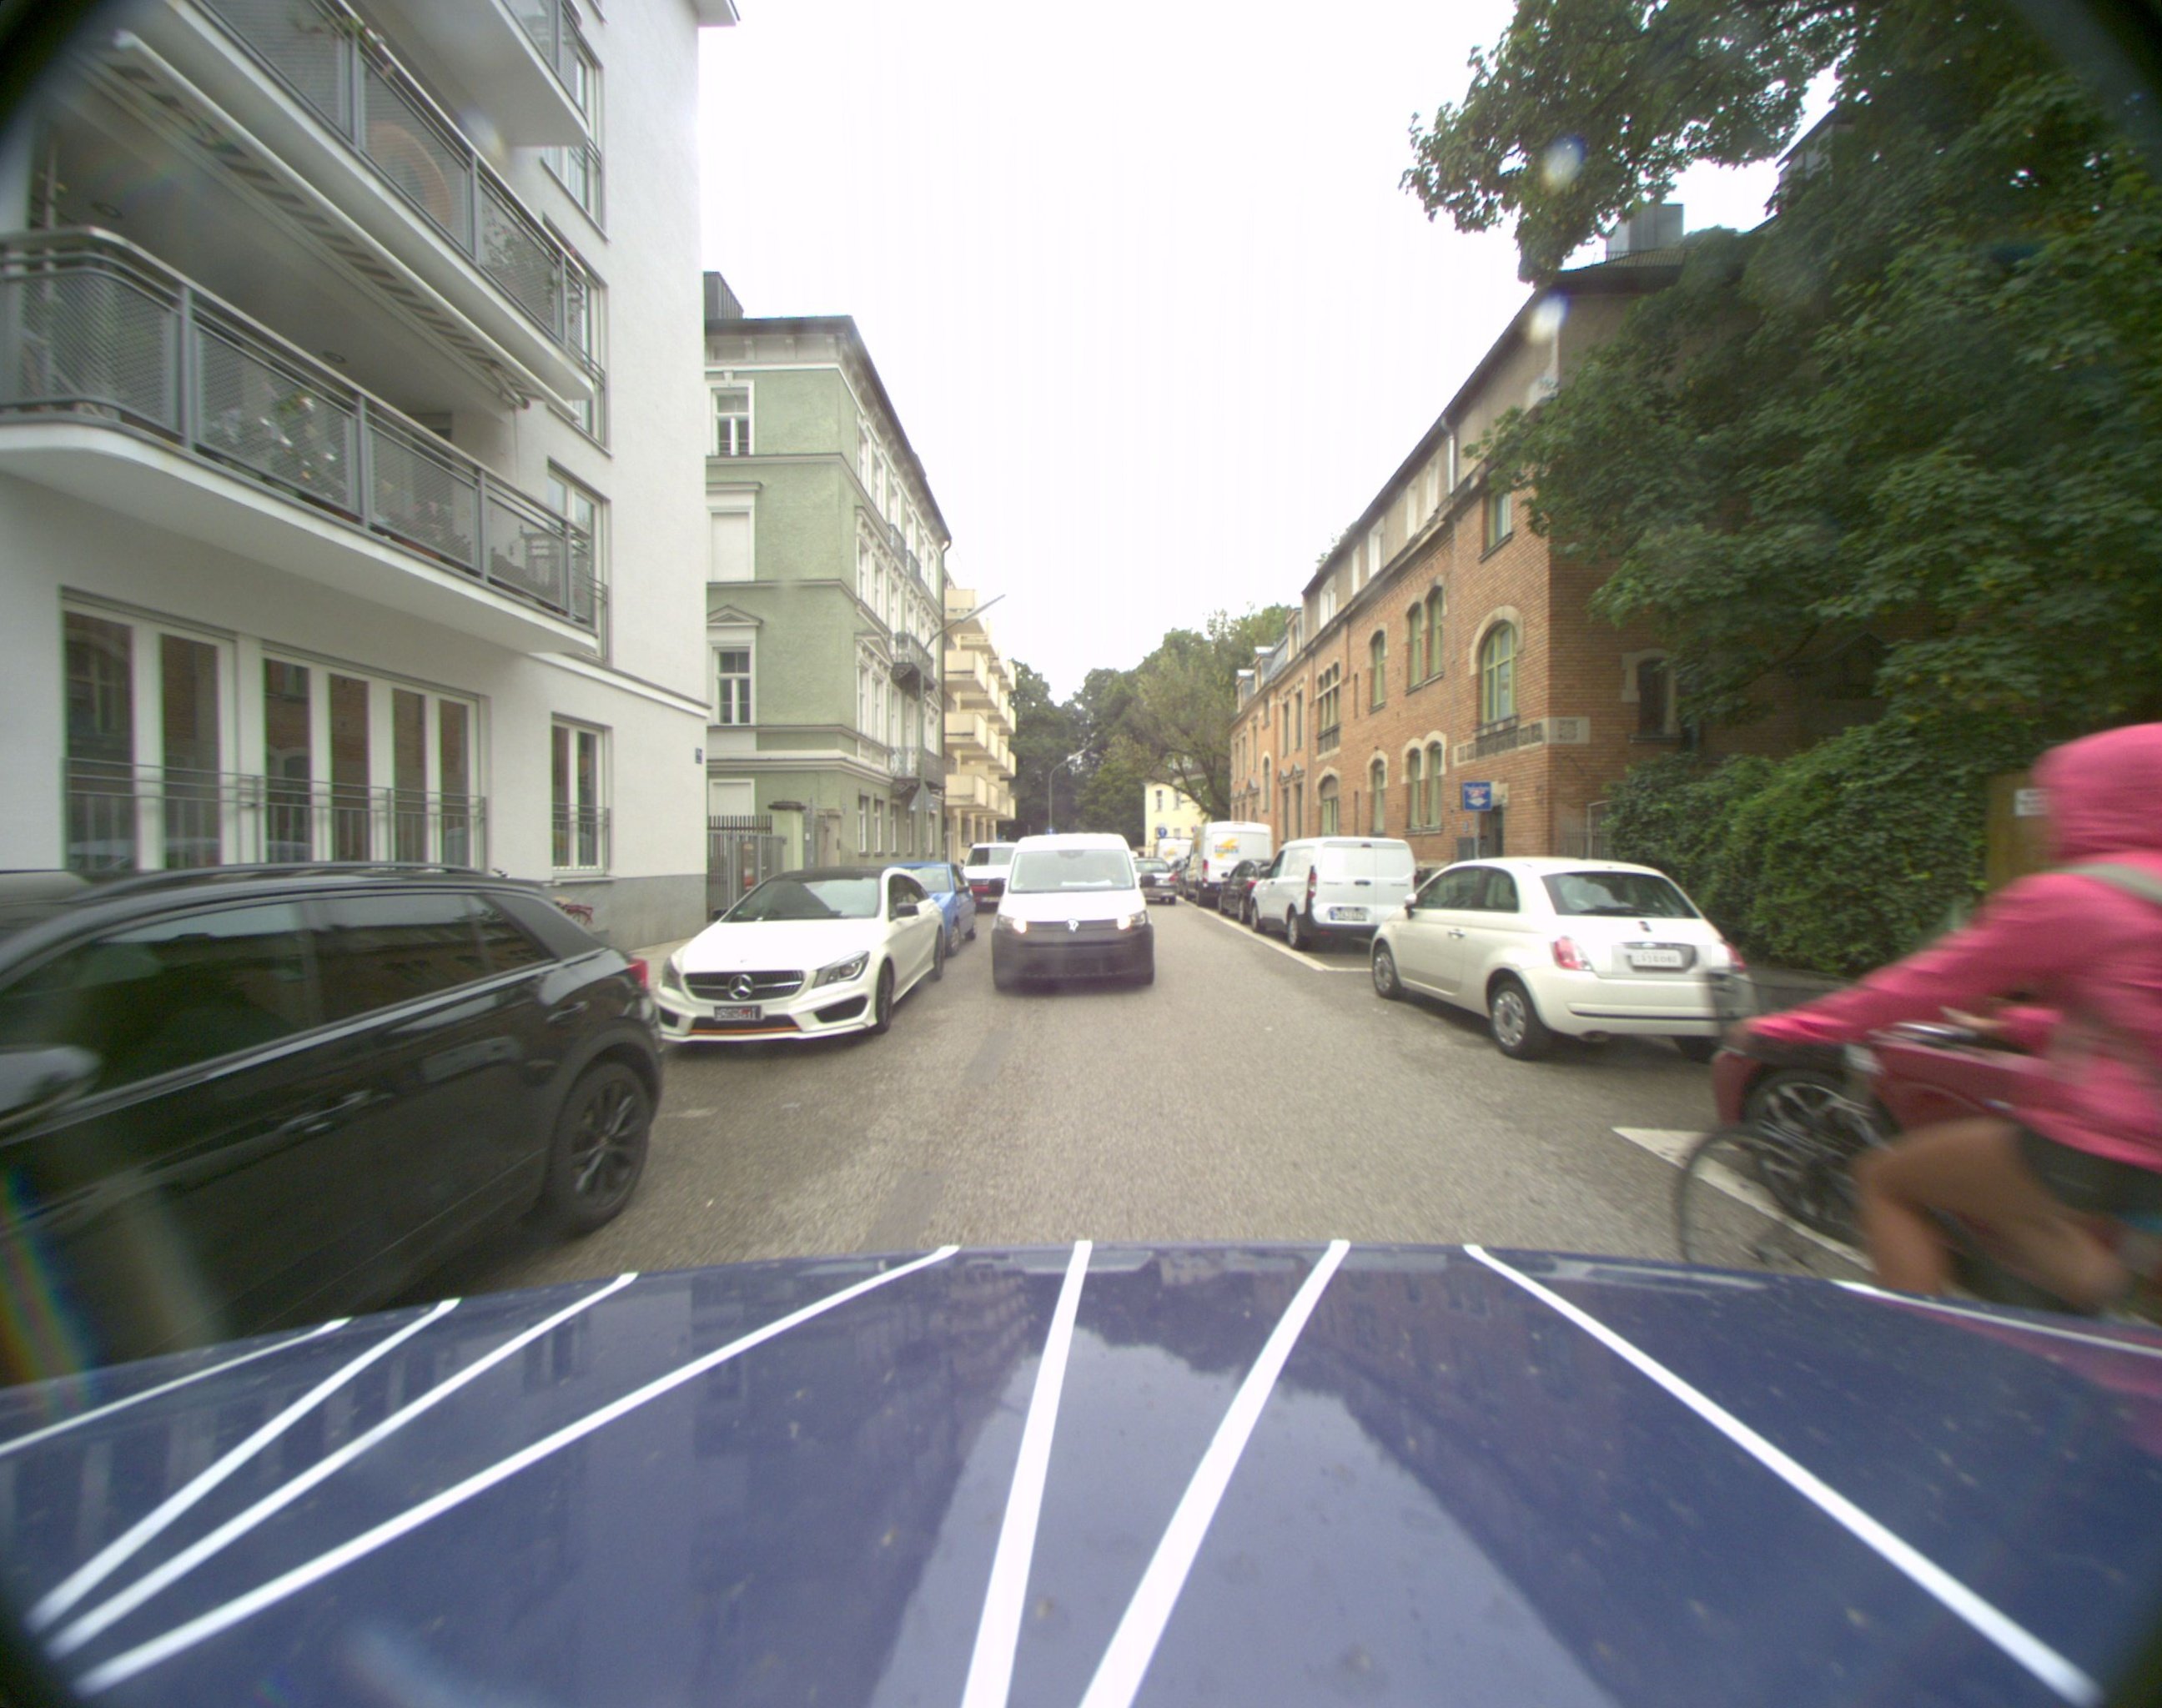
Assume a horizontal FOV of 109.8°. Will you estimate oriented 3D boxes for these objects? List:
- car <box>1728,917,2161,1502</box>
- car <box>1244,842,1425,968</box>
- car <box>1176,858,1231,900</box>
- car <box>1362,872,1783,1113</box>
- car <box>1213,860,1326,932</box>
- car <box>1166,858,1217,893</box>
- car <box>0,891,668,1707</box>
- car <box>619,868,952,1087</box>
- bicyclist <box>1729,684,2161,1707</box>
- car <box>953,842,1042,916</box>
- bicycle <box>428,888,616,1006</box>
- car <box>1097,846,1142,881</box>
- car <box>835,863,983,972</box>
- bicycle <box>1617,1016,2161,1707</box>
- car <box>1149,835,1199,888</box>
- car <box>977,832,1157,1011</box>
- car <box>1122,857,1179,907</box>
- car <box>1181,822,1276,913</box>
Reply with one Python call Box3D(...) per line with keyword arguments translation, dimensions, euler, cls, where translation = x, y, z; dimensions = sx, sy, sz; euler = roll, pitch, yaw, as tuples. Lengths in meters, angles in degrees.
Box3D(translation=(3.777, 1.034, 1.142), dimensions=(1.865, 1.404, 4.333), euler=(2, 1, 0), cls="car")
Box3D(translation=(4.114, 0.737, 13.095), dimensions=(1.694, 1.793, 4.145), euler=(1, 0, 0), cls="car")
Box3D(translation=(4.545, 0.903, 28.668), dimensions=(1.526, 1.434, 3.541), euler=(2, 0, 1), cls="car")
Box3D(translation=(3.824, 0.948, 6.625), dimensions=(1.477, 1.458, 3.313), euler=(1, 0, 0), cls="car")
Box3D(translation=(4.317, 0.899, 18.020), dimensions=(1.694, 1.434, 4.145), euler=(1, 0, 1), cls="car")
Box3D(translation=(4.840, 0.910, 33.653), dimensions=(1.694, 1.434, 3.984), euler=(2, 0, 1), cls="car")
Box3D(translation=(-2.777, 0.980, 1.570), dimensions=(1.608, 1.521, 3.984), euler=(-3, 0, 0), cls="car")
Box3D(translation=(-2.519, 0.944, 7.664), dimensions=(1.662, 1.431, 4.206), euler=(-3, 0, 0), cls="car")
Box3D(translation=(1.885, 0.541, 1.315), dimensions=(0.695, 1.552, 0.967), euler=(1, 0, 4), cls="bicyclist")
Box3D(translation=(-2.332, 0.667, 22.501), dimensions=(1.858, 1.885, 4.592), euler=(-2, 0, 2), cls="car")
Box3D(translation=(-6.049, 0.953, 8.382), dimensions=(0.679, 1.022, 1.834), euler=(0, 2, 0), cls="bicycle")
Box3D(translation=(2.065, 0.494, 42.024), dimensions=(1.777, 1.793, 4.569), euler=(0, 0, -5), cls="car")
Box3D(translation=(-2.667, 0.924, 12.557), dimensions=(1.623, 1.404, 3.553), euler=(-3, 1, -1), cls="car")
Box3D(translation=(1.903, 1.076, 1.505), dimensions=(0.505, 1.121, 1.773), euler=(1, 0, 4), cls="bicycle")
Box3D(translation=(4.770, 0.384, 39.677), dimensions=(2.118, 2.525, 4.422), euler=(3, 0, 2), cls="car")
Box3D(translation=(-0.064, 0.658, 9.576), dimensions=(1.776, 1.761, 4.000), euler=(1, 0, 2), cls="car")
Box3D(translation=(2.141, 0.819, 24.032), dimensions=(1.585, 1.403, 3.612), euler=(0, 1, 2), cls="car")
Box3D(translation=(4.412, 0.361, 23.545), dimensions=(1.986, 2.463, 5.223), euler=(1, 0, 1), cls="car")
